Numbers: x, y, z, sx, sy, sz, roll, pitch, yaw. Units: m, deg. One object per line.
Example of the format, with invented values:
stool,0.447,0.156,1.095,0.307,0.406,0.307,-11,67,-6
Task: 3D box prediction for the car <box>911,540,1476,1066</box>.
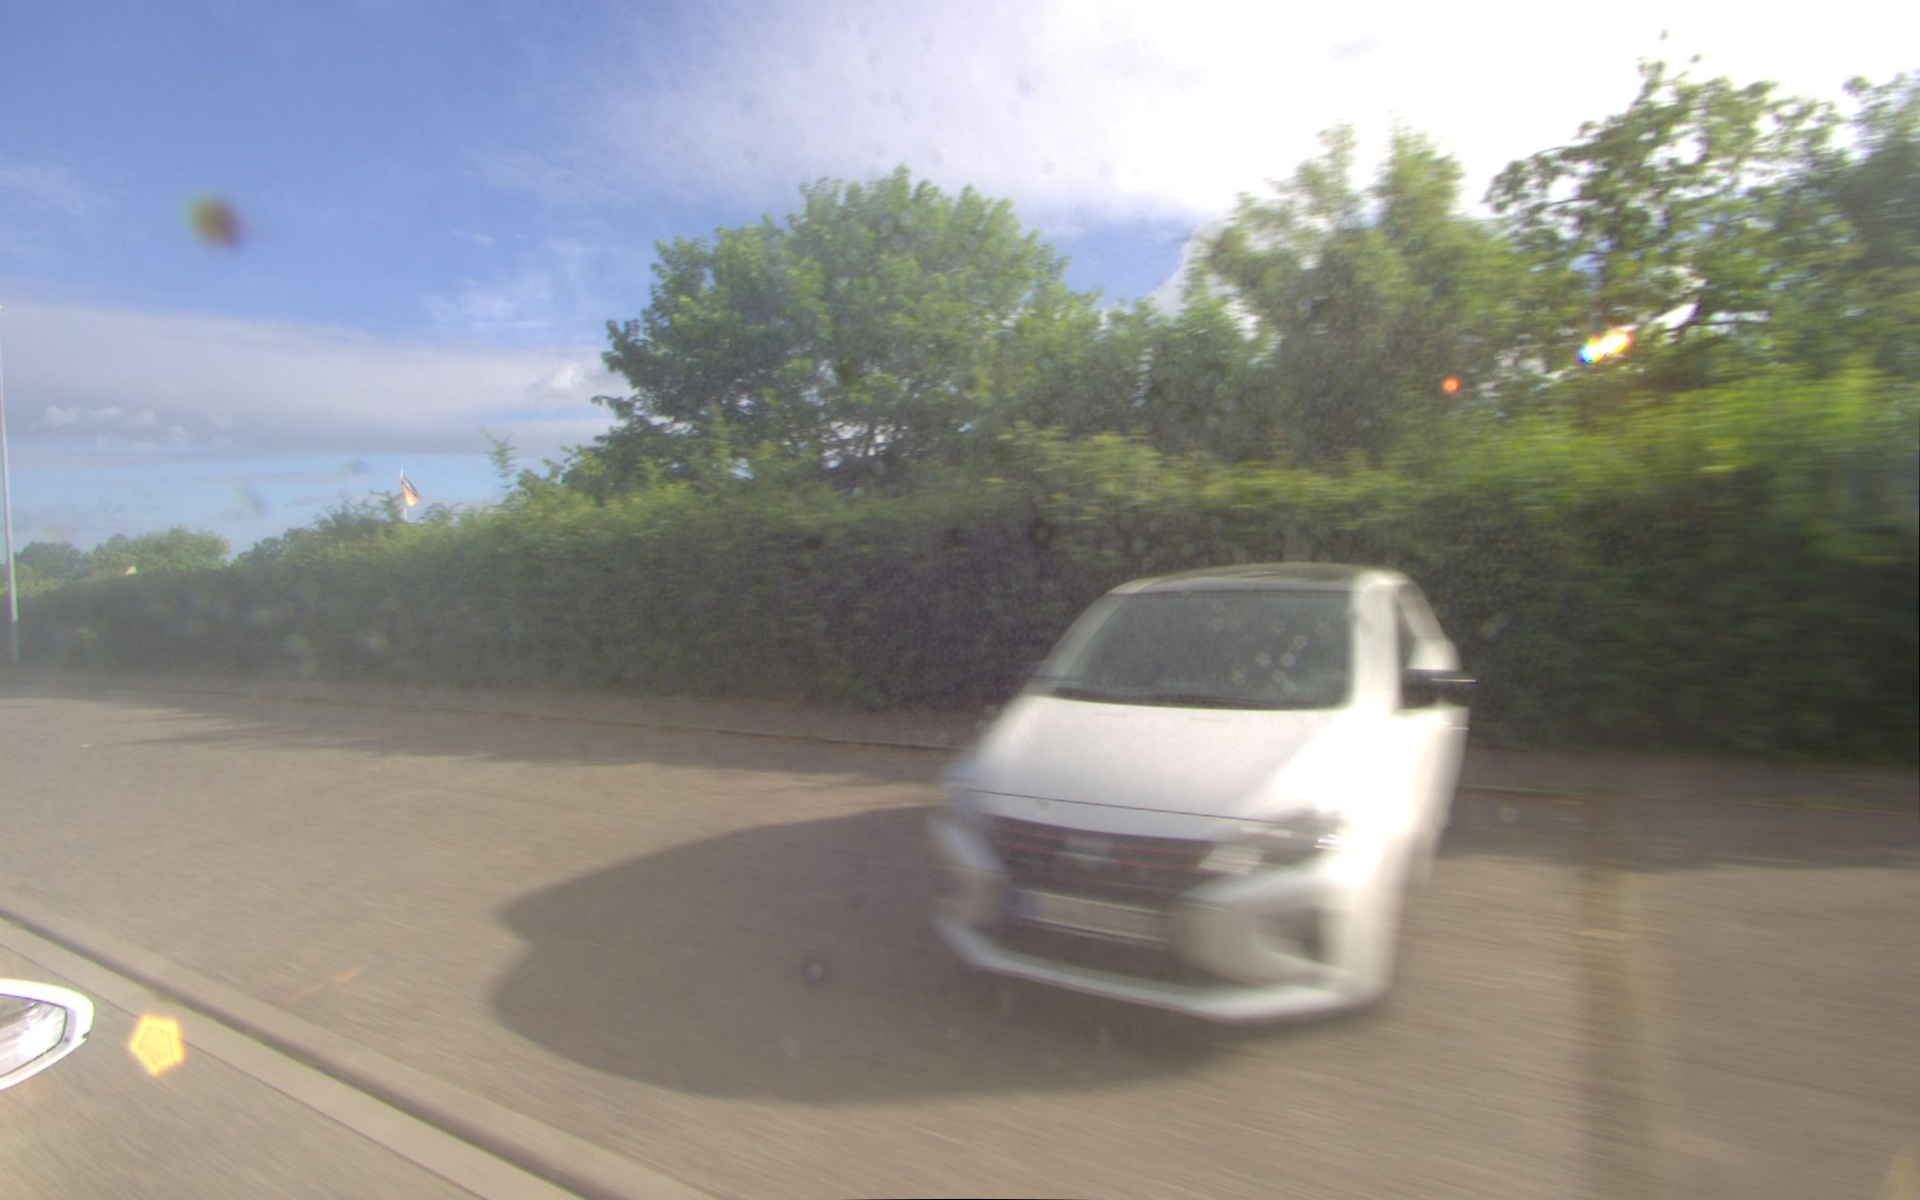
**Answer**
car,1.531,0.526,5.030,1.667,1.511,3.847,-1,3,31
